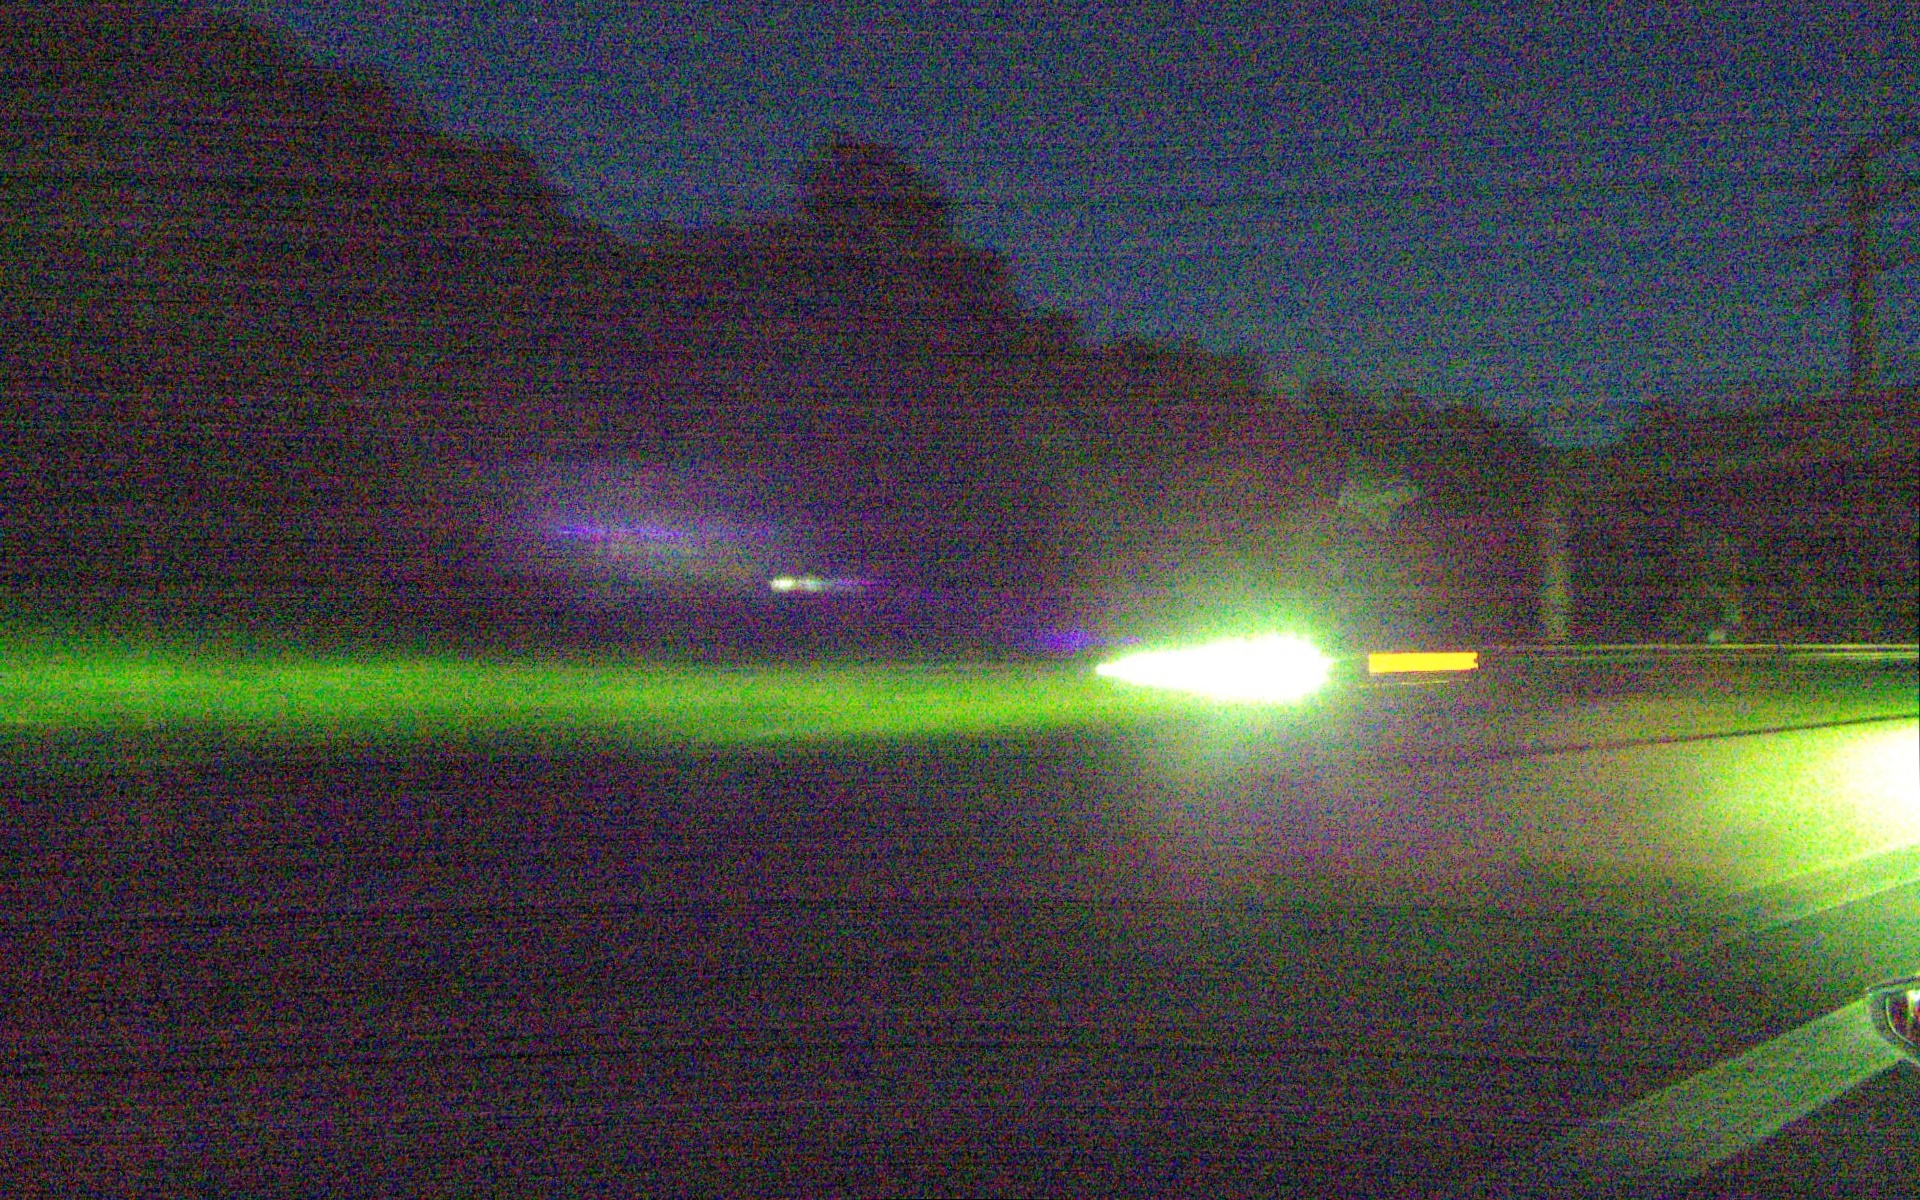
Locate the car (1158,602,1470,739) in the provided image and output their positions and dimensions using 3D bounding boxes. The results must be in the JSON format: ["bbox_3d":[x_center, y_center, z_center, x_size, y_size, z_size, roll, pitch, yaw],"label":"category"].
[{"bbox_3d":[5.937,1.042,16.599,5.396,1.948,1.898,0,-2,-32],"label":"car"}]
